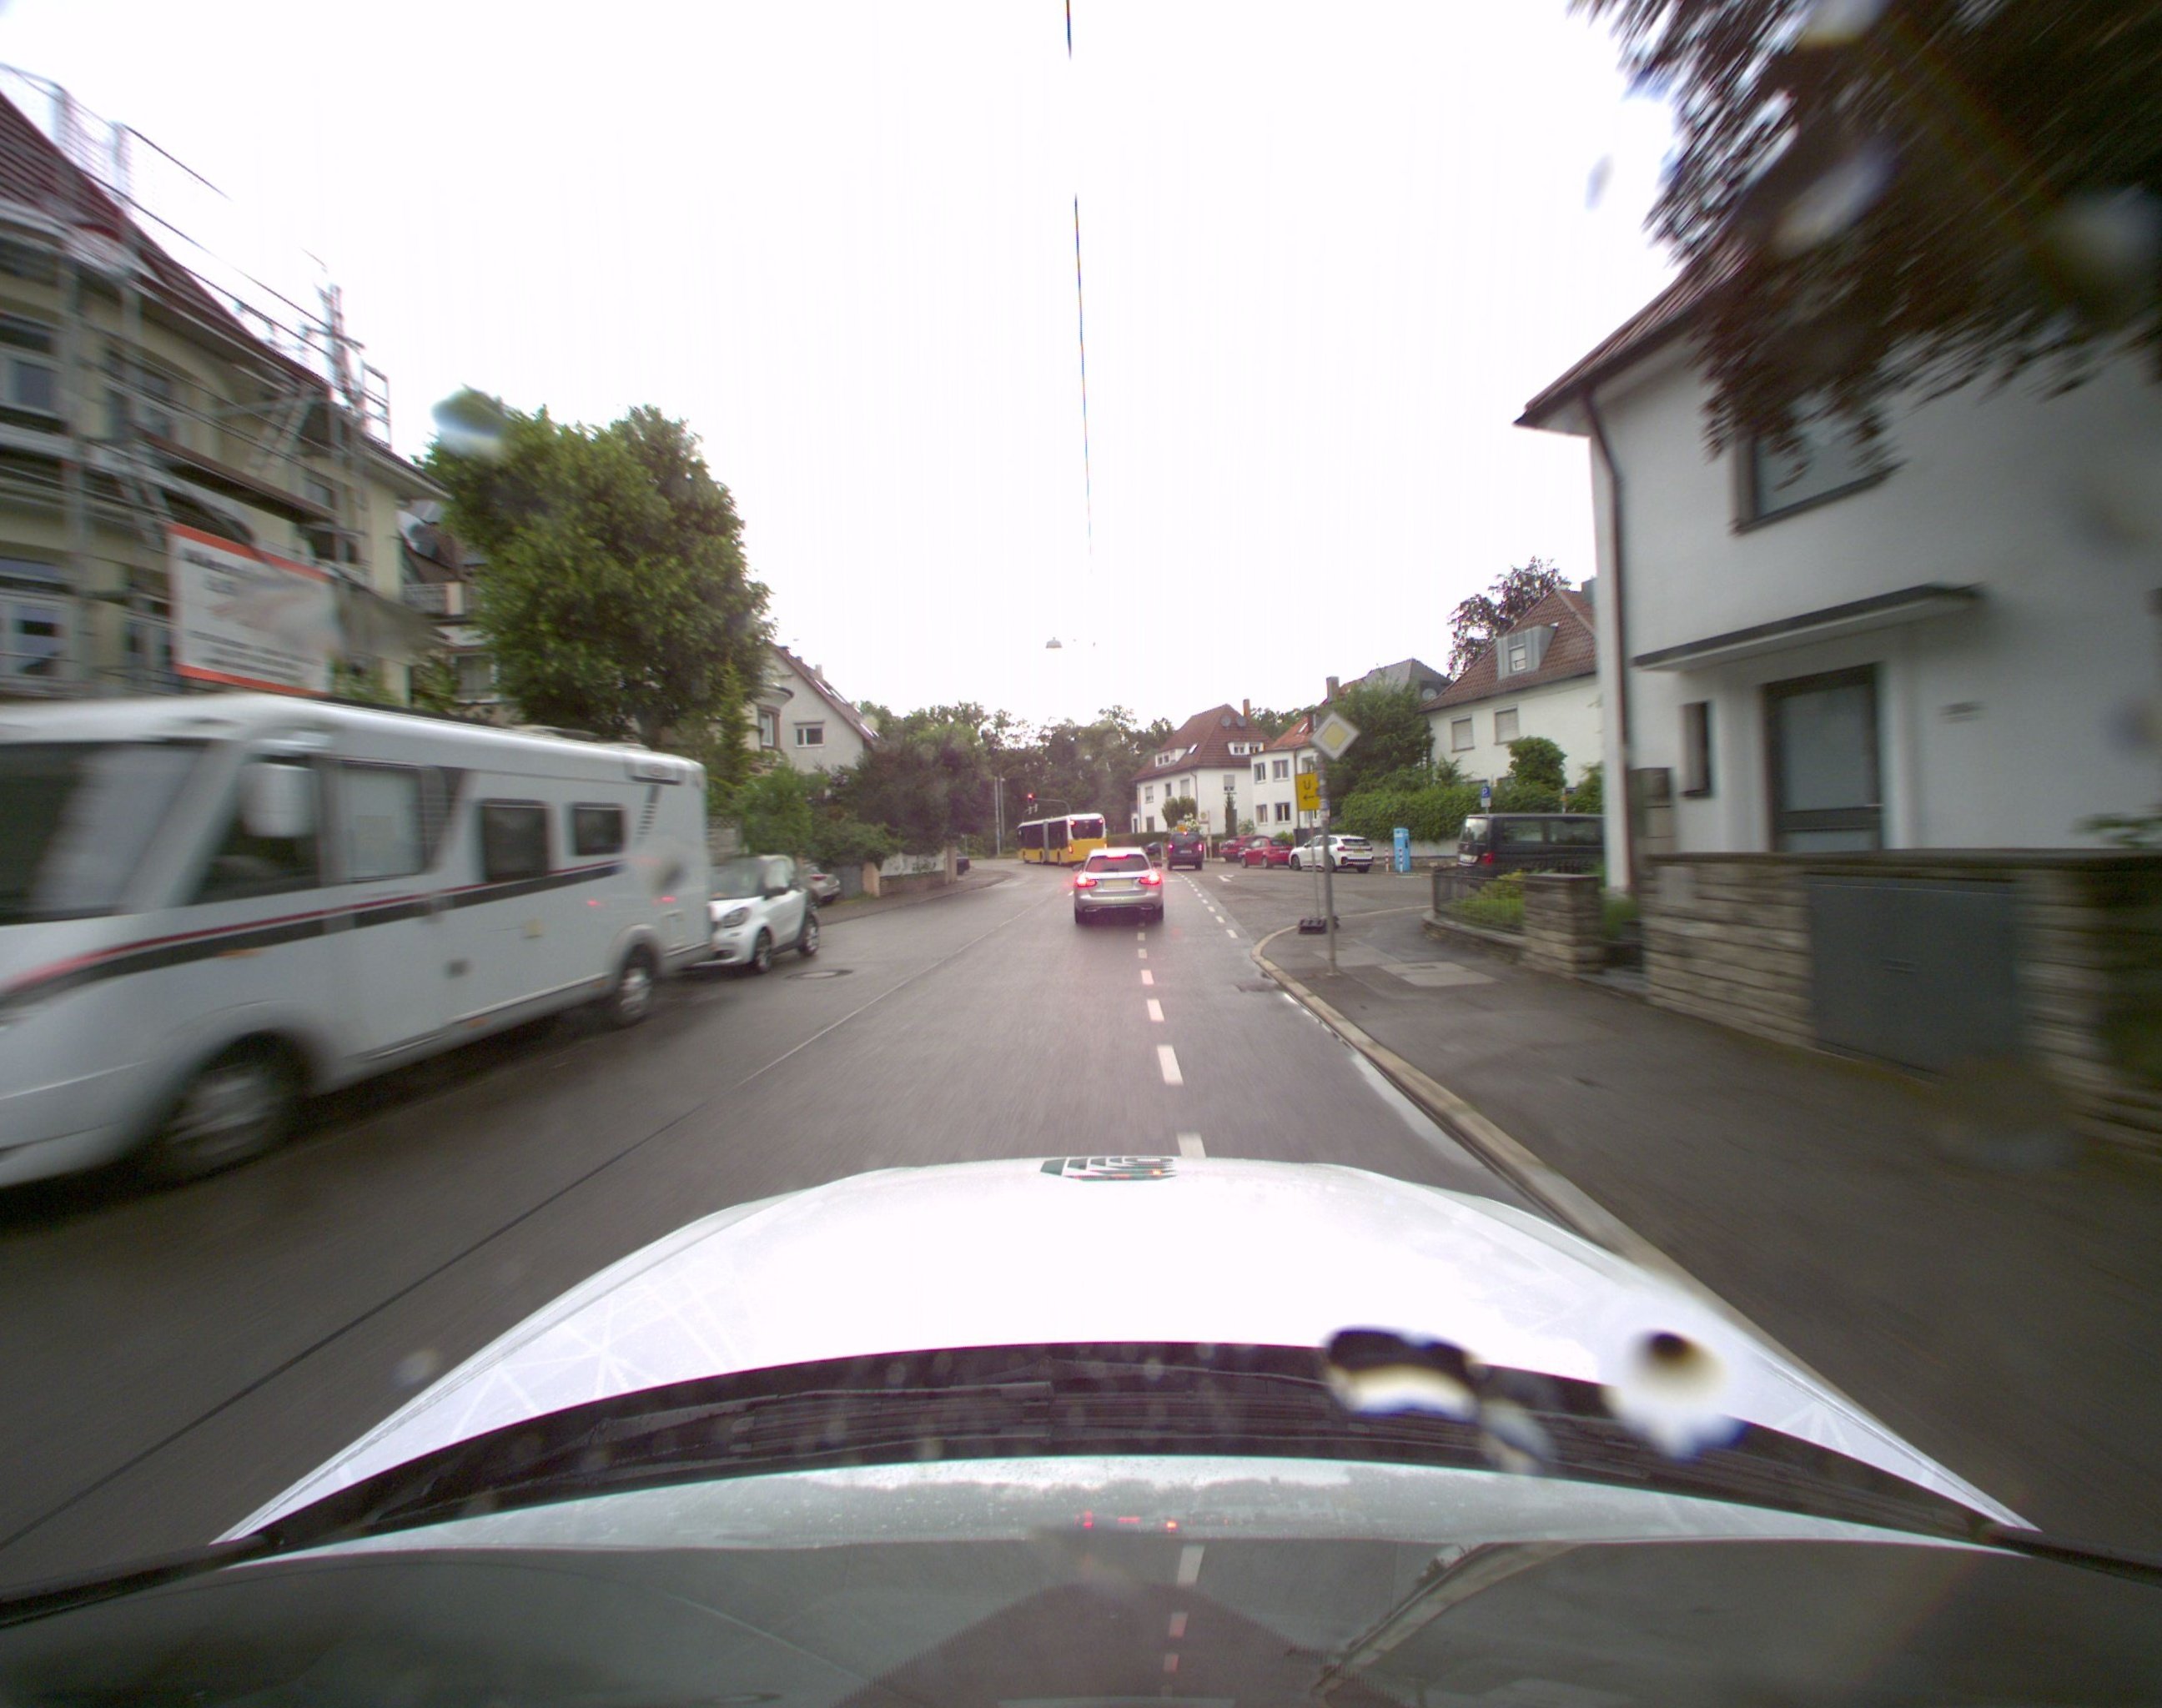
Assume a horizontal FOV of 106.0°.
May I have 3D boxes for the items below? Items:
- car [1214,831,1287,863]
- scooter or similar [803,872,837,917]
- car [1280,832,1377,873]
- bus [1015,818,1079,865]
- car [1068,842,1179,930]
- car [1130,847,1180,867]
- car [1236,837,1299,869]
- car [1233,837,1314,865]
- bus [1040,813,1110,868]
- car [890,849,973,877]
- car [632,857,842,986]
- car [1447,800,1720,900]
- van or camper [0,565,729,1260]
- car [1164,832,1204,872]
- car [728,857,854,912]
[{"bbox_3d":[10.804,-0.449,51.984,4.092,1.750,1.985,-4,2,-24],"label":"car"},{"bbox_3d":[-7.145,1.096,22.340,0.399,1.188,1.143,-1,0,8],"label":"scooter or similar"},{"bbox_3d":[10.801,-0.086,35.918,1.749,1.672,4.619,-1,1,-18],"label":"car"},{"bbox_3d":[-2.846,-0.976,64.547,2.906,3.398,8.990,-3,1,-17],"label":"bus"},{"bbox_3d":[0.847,0.553,17.202,1.986,1.479,4.488,-2,2,2],"label":"car"},{"bbox_3d":[6.129,0.208,67.187,3.754,1.388,1.606,-3,3,-19],"label":"car"},{"bbox_3d":[9.367,-0.081,41.124,1.614,1.537,3.522,-1,1,-15],"label":"car"},{"bbox_3d":[11.794,-0.219,49.911,4.568,1.416,1.985,-4,2,-24],"label":"car"},{"bbox_3d":[-0.566,-0.896,55.980,2.681,3.398,8.638,-3,1,-14],"label":"bus"},{"bbox_3d":[-8.634,0.500,47.277,1.780,1.495,4.713,0,1,38],"label":"car"},{"bbox_3d":[-4.947,0.882,12.207,1.589,1.594,3.319,-2,0,2],"label":"car"},{"bbox_3d":[11.202,-0.085,18.493,4.882,1.947,1.944,-2,0,6],"label":"car"},{"bbox_3d":[-5.276,0.270,6.247,2.340,2.725,6.117,-2,0,0],"label":"van or camper"},{"bbox_3d":[5.094,-0.098,40.036,1.799,1.797,4.009,-2,0,8],"label":"car"},{"bbox_3d":[-9.748,1.007,27.419,3.551,1.540,1.718,-3,3,19],"label":"car"}]
